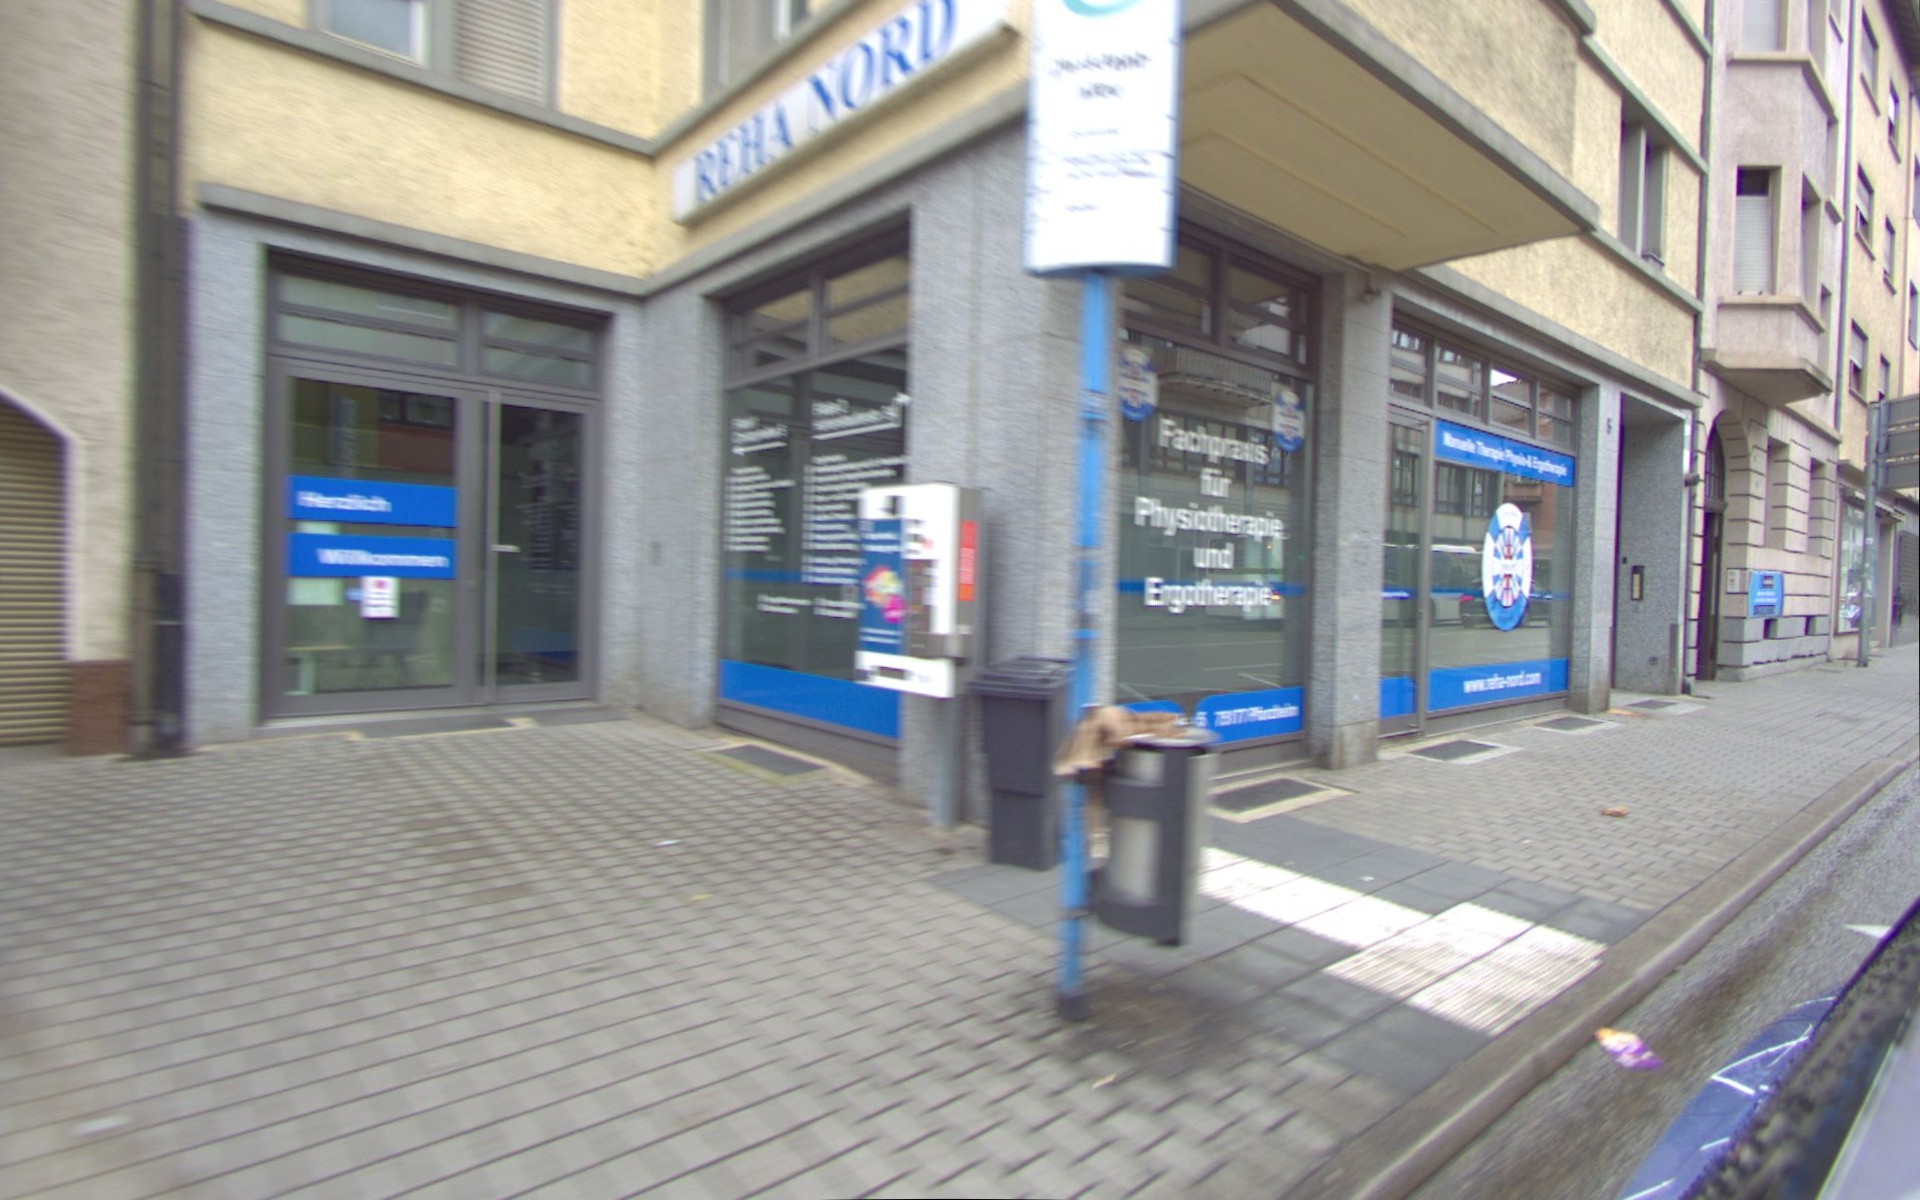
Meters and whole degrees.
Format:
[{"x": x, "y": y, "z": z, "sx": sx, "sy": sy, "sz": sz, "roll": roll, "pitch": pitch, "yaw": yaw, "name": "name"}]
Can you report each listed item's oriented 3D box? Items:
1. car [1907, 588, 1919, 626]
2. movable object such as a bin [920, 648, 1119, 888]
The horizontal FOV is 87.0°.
[{"x": 42.266, "y": 0.332, "z": 42.141, "sx": 1.900, "sy": 1.593, "sz": 3.838, "roll": 0, "pitch": 2, "yaw": -35, "name": "car"}, {"x": 0.275, "y": 0.730, "z": 4.704, "sx": 0.692, "sy": 0.937, "sz": 0.601, "roll": -1, "pitch": 2, "yaw": -41, "name": "movable object such as a bin"}]
